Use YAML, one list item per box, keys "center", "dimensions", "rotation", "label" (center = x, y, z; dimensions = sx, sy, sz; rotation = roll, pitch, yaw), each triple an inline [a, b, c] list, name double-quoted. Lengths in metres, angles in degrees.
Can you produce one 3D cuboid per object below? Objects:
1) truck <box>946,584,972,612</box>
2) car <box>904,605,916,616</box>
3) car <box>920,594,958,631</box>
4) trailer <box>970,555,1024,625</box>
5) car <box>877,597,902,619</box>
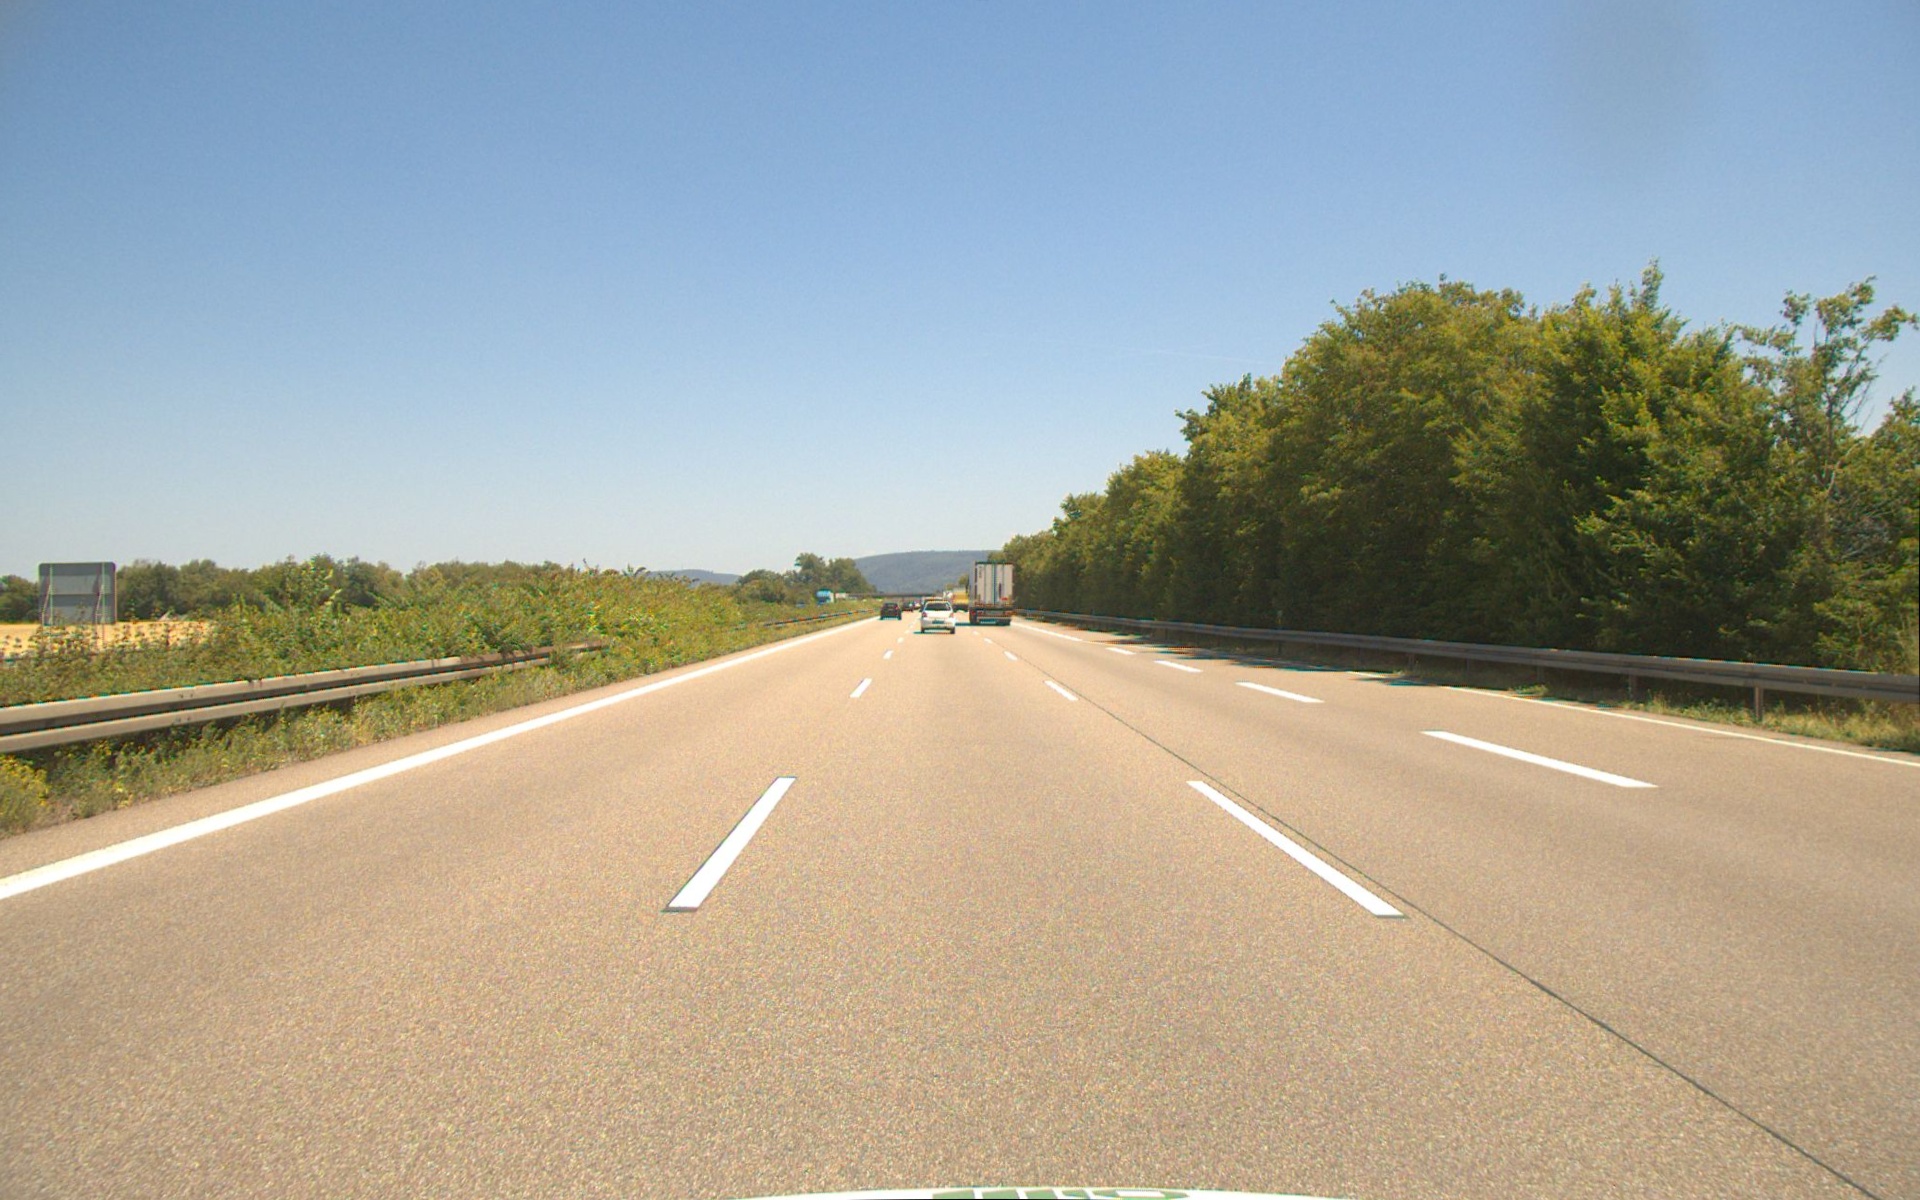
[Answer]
- center: [-0.270, -0.309, 263.888]
  dimensions: [3.793, 4.421, 13.856]
  rotation: [1, 0, -1]
  label: "truck"
- center: [-7.204, 1.557, 237.861]
  dimensions: [1.759, 1.578, 3.999]
  rotation: [0, 0, -1]
  label: "car"
- center: [-1.041, 0.578, 79.776]
  dimensions: [1.697, 1.713, 3.998]
  rotation: [-1, 0, -2]
  label: "car"
- center: [2.410, -0.643, 112.834]
  dimensions: [3.152, 4.421, 13.627]
  rotation: [1, 0, -1]
  label: "trailer"
- center: [-5.859, 0.661, 137.724]
  dimensions: [1.953, 1.742, 3.998]
  rotation: [1, 0, -2]
  label: "car"
